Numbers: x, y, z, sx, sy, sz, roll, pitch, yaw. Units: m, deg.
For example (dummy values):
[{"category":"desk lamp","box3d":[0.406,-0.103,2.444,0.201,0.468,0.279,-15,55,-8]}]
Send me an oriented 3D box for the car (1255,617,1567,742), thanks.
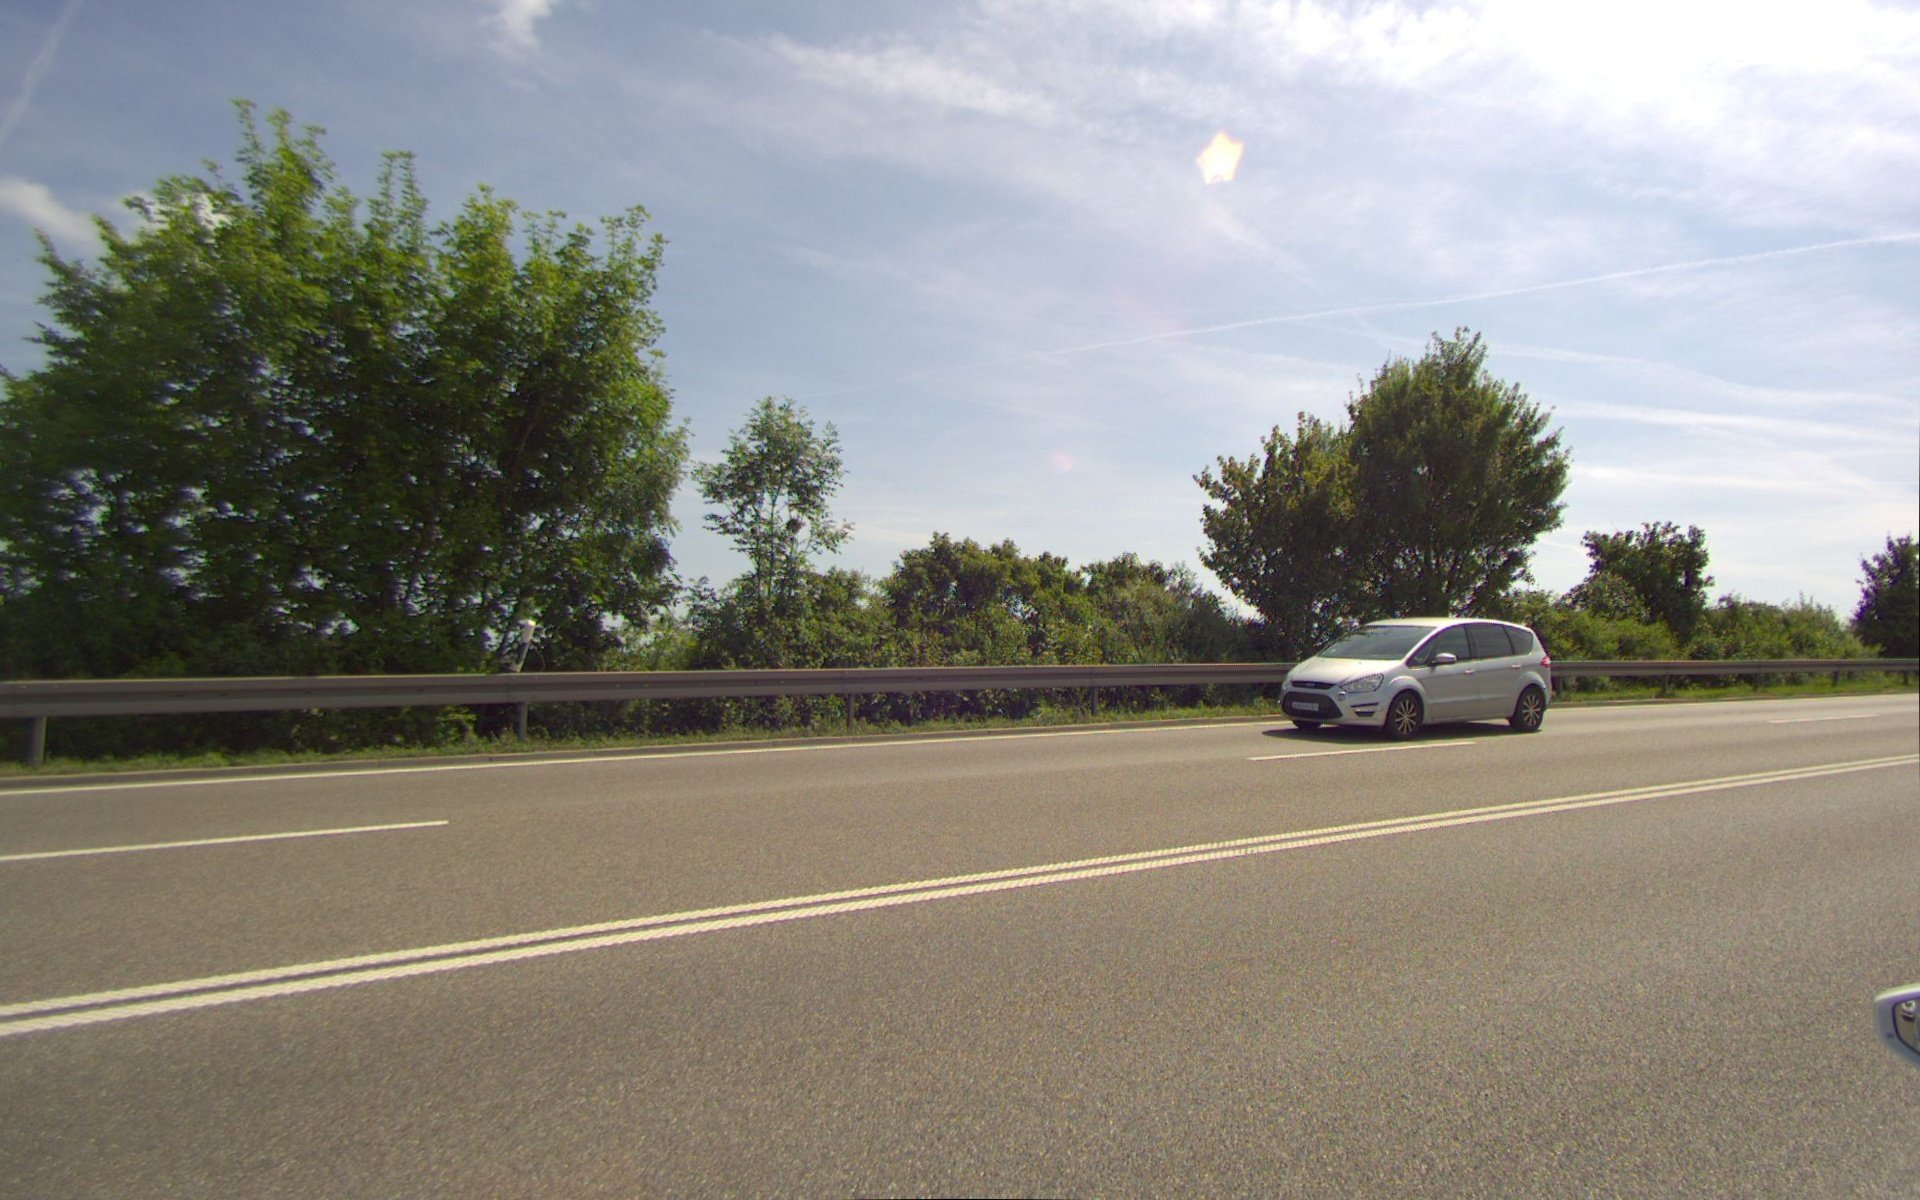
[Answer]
[{"category":"car","box3d":[6.679,1.084,14.753,4.627,1.589,1.805,1,-2,-29]}]
